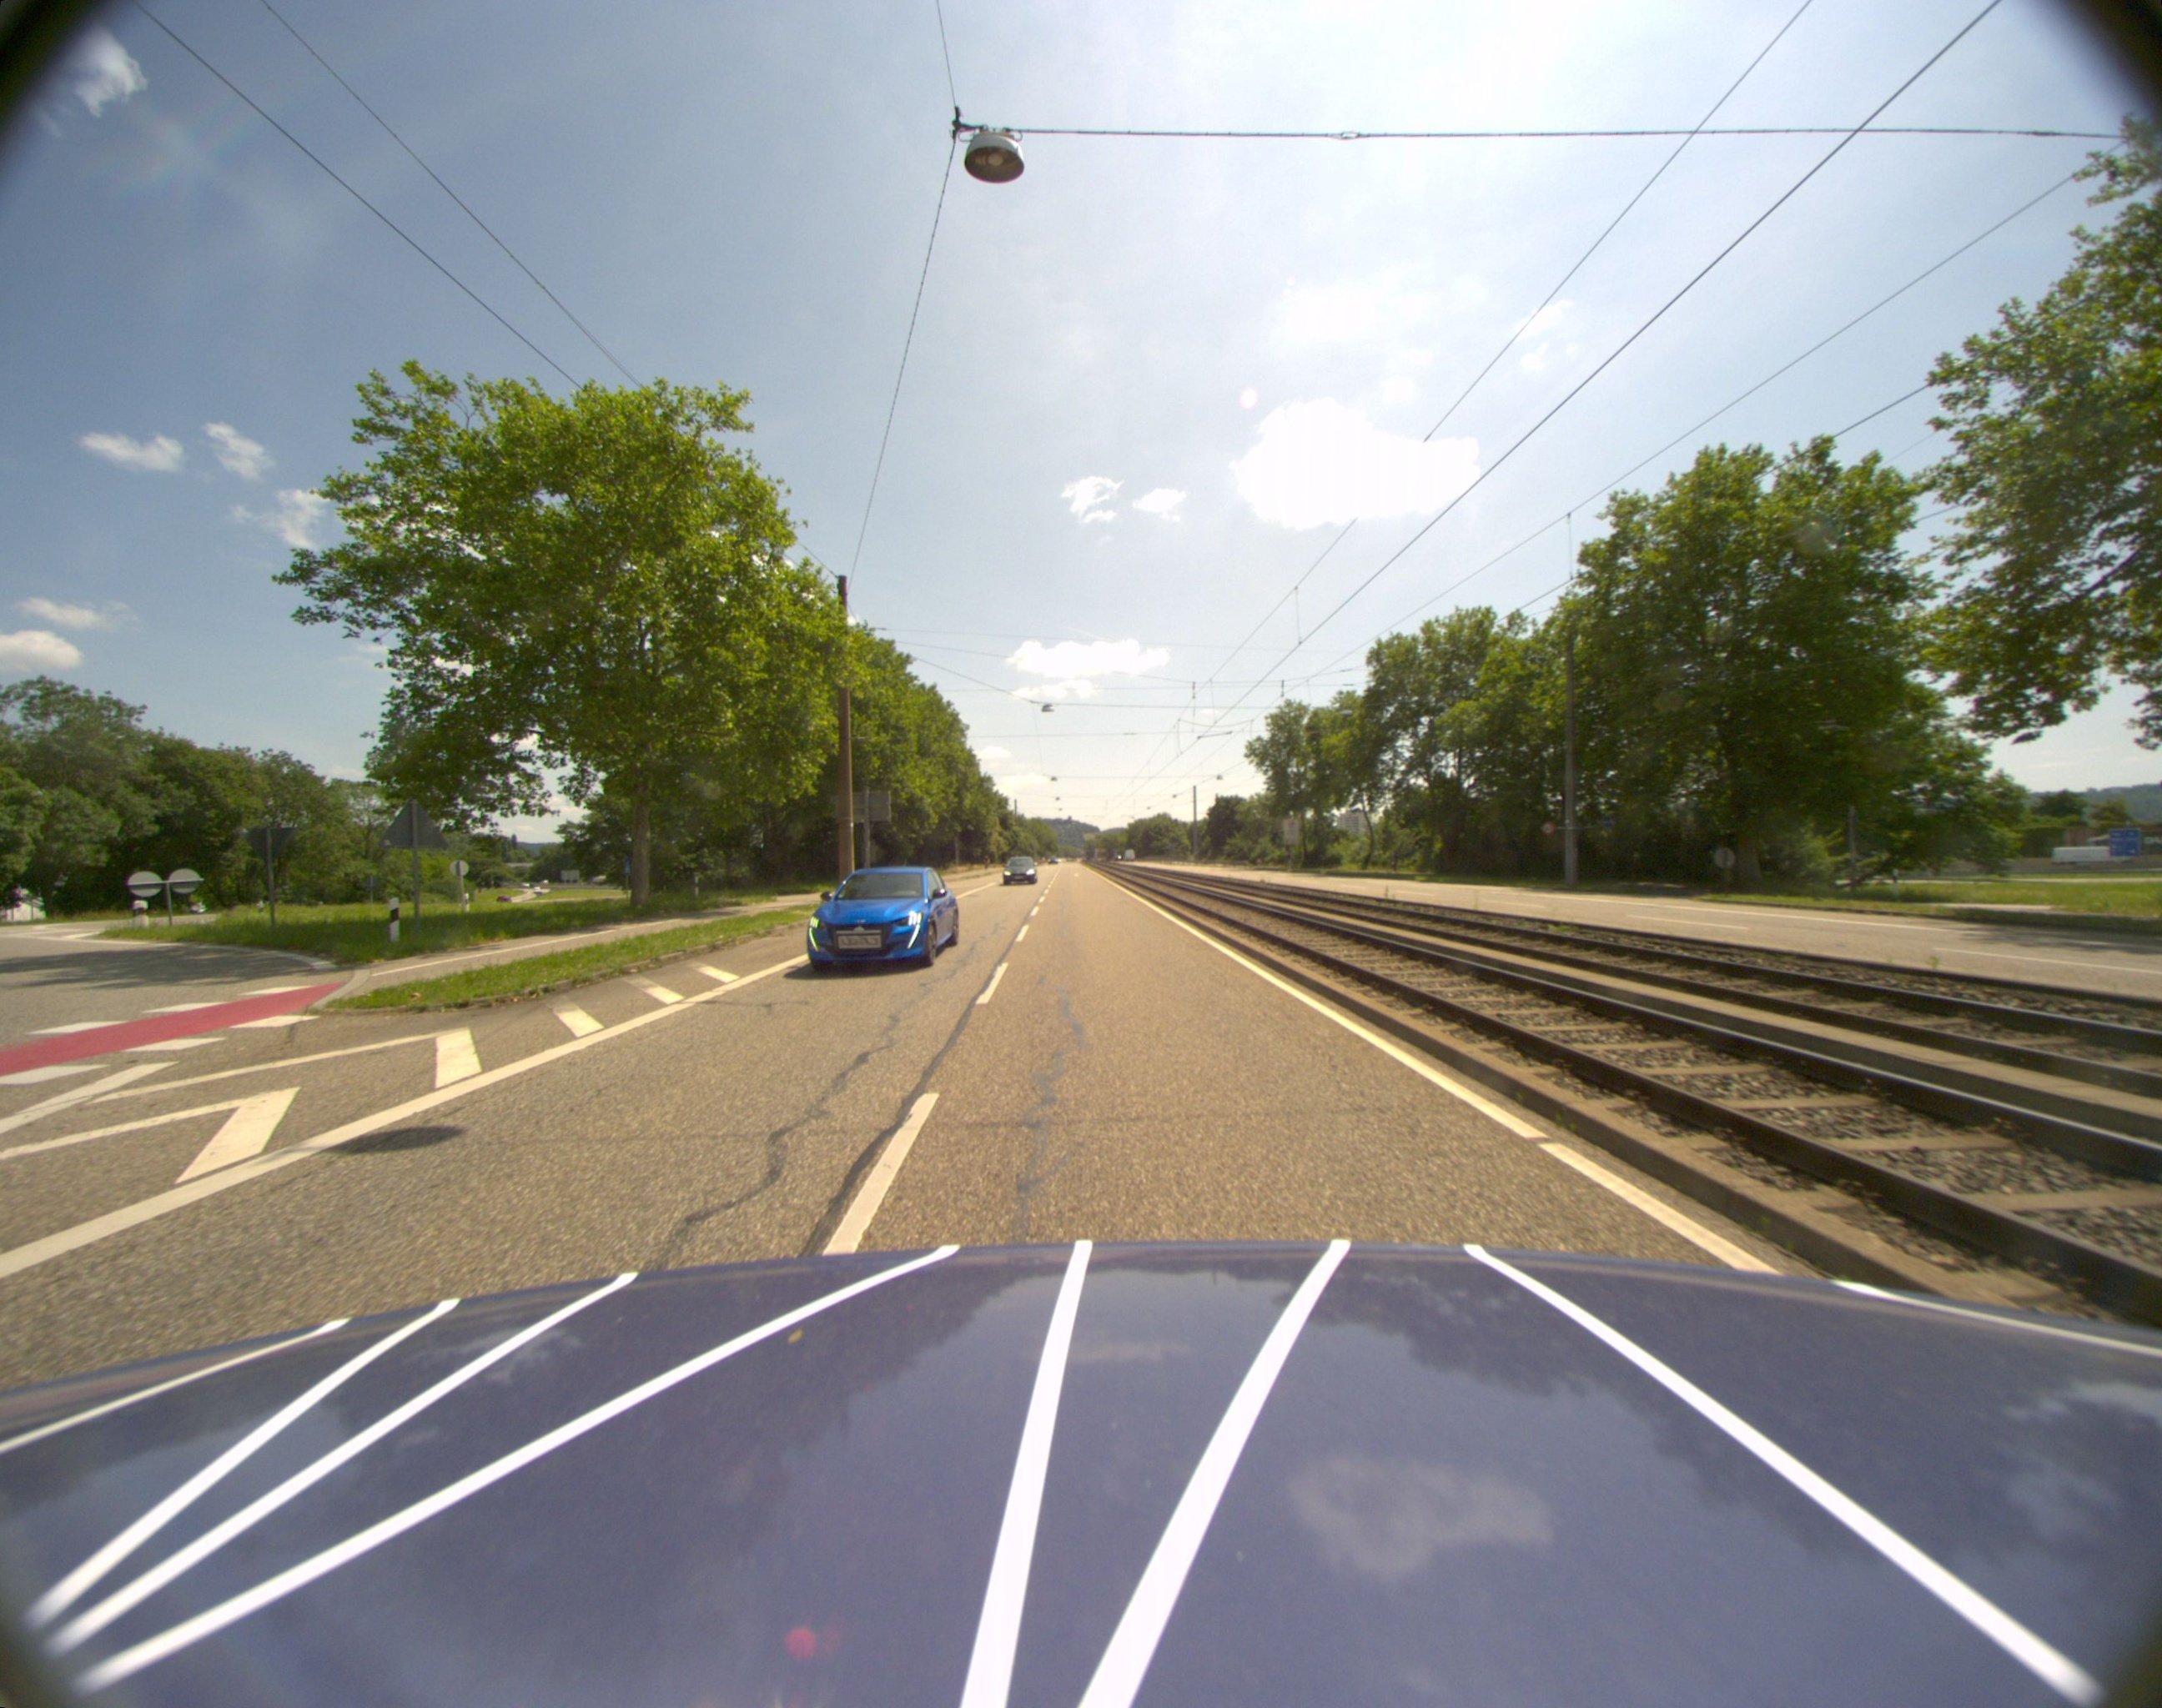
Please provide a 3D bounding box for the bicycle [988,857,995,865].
[{"bbox_3d":[-10.871,0.821,92.309,0.607,0.904,1.892,-1,0,0],"label":"bicycle"}]

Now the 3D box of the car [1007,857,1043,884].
[{"bbox_3d":[-3.176,0.893,43.399,1.771,1.422,3.999,-2,0,-1],"label":"car"}]

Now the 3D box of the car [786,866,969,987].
[{"bbox_3d":[-3.021,0.999,12.305,1.771,1.463,4.466,-2,0,-1],"label":"car"}]

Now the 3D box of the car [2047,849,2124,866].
[{"bbox_3d":[127.575,0.434,96.558,5.573,2.002,2.003,-1,1,26],"label":"car"}]

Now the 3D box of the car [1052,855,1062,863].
[{"bbox_3d":[-4.641,0.952,145.383,1.771,1.422,3.999,-1,0,-1],"label":"car"}]

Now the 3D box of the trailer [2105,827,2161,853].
[{"bbox_3d":[150.638,-1.994,103.944,12.346,3.420,3.344,-1,0,29],"label":"trailer"}]

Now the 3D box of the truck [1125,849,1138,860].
[{"bbox_3d":[11.838,0.107,179.542,2.332,2.566,6.620,-1,0,-2],"label":"truck"}]

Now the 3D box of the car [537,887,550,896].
[{"bbox_3d":[-129.646,9.044,183.380,2.003,2.002,4.553,-1,0,-29],"label":"car"}]

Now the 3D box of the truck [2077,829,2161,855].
[{"bbox_3d":[145.736,-1.647,106.769,6.125,3.362,3.336,-1,0,29],"label":"truck"}]

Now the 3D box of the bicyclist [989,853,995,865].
[{"bbox_3d":[-10.872,0.647,92.389,0.607,1.465,0.947,-1,1,0],"label":"bicyclist"}]
